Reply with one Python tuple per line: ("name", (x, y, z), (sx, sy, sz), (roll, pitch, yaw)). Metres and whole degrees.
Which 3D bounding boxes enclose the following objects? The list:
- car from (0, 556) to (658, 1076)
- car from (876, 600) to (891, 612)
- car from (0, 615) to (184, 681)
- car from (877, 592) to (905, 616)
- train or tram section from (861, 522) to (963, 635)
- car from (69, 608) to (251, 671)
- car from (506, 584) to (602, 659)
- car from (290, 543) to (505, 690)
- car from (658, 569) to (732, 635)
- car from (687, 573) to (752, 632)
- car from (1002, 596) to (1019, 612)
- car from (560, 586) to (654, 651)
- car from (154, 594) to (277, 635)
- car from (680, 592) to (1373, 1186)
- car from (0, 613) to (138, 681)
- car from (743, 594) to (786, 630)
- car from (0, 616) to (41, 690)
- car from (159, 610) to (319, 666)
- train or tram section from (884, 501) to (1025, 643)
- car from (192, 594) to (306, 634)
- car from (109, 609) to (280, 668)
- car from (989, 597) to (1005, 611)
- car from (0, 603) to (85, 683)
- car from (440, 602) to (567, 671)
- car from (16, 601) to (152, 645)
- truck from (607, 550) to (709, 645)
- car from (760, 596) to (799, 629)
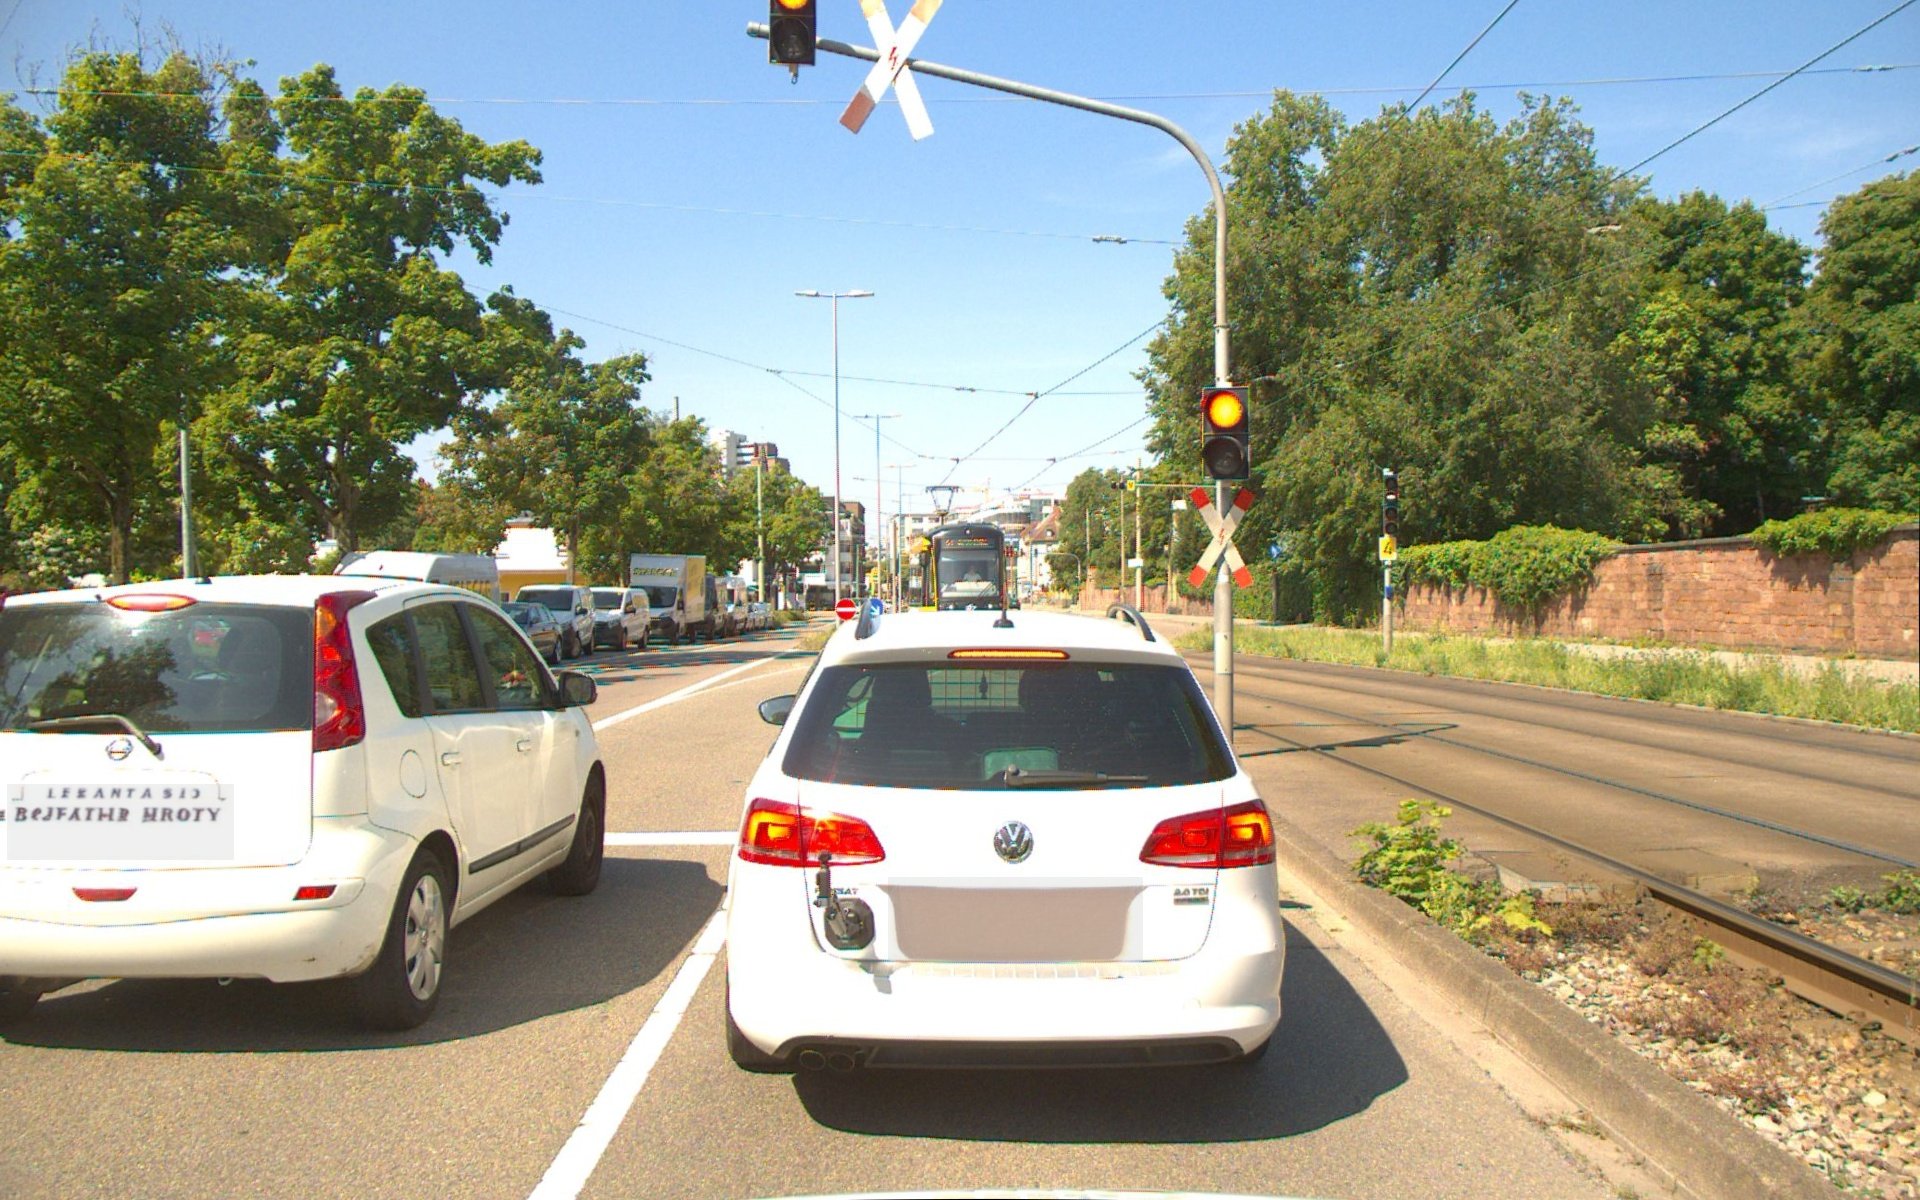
("car", (-2.567, 0.643, 7.287), (1.628, 1.575, 4.546), (0, 0, 0))
("car", (-9.612, 0.740, 207.555), (1.670, 1.499, 4.589), (-1, 0, 0))
("car", (-21.737, 1.172, 41.240), (3.909, 1.440, 1.728), (-2, 0, -5))
("car", (-4.664, 0.259, 112.734), (1.670, 1.499, 4.589), (-1, 0, 0))
("train or tram section", (-2.059, -0.787, 64.703), (2.816, 3.923, 12.373), (-1, 0, -7))
("car", (-21.115, 1.030, 43.781), (3.909, 1.440, 1.728), (-2, 0, -5))
("car", (-11.015, 0.535, 45.135), (1.828, 1.900, 5.068), (1, 0, -6))
("car", (-10.749, 0.279, 32.171), (2.079, 2.560, 5.817), (1, 0, 1))
("car", (-10.846, 0.073, 68.147), (2.079, 2.560, 5.733), (1, 0, 0))
("car", (-10.930, 0.105, 75.582), (2.079, 2.560, 5.733), (1, 0, 0))
("car", (6.286, 0.525, 206.709), (1.826, 1.900, 5.060), (1, 0, -2))
("car", (-10.971, 0.533, 51.723), (1.826, 1.900, 5.412), (1, 0, -1))
("car", (-34.383, 0.674, 76.484), (4.698, 1.819, 2.062), (1, 0, -5))
("car", (0.144, 0.720, 6.193), (1.726, 1.455, 3.999), (-1, 0, -1))
("car", (-21.621, 1.120, 38.632), (3.909, 1.440, 1.728), (-2, 0, -5))
("car", (-10.768, 0.632, 91.506), (1.826, 1.900, 5.412), (1, 0, -1))
("car", (-20.730, 1.126, 32.835), (3.909, 1.440, 1.728), (-2, 0, -5))
("car", (-21.282, 1.107, 48.927), (3.909, 1.440, 1.728), (-2, 0, -5))
("train or tram section", (-0.418, -0.804, 52.578), (2.817, 3.923, 12.369), (-1, 0, -8))
("car", (-34.905, 0.685, 81.296), (4.698, 1.819, 2.062), (1, 0, -5))
("car", (-21.293, 1.062, 46.109), (3.909, 1.440, 1.728), (-2, 0, -5))
("car", (4.986, 0.513, 222.482), (1.826, 1.900, 5.060), (1, 0, -2))
("car", (-21.090, 0.968, 35.236), (3.909, 1.638, 1.728), (-2, 0, -5))
("car", (-10.566, 0.806, 38.567), (1.826, 1.440, 4.278), (1, 0, -1))
("car", (-37.749, 0.991, 71.379), (4.698, 1.819, 2.062), (1, 0, -5))
("truck", (-10.874, -0.106, 60.148), (2.371, 3.205, 6.996), (1, 0, 0))
("car", (-10.717, 0.717, 98.423), (1.826, 1.900, 5.412), (1, 0, -1))
